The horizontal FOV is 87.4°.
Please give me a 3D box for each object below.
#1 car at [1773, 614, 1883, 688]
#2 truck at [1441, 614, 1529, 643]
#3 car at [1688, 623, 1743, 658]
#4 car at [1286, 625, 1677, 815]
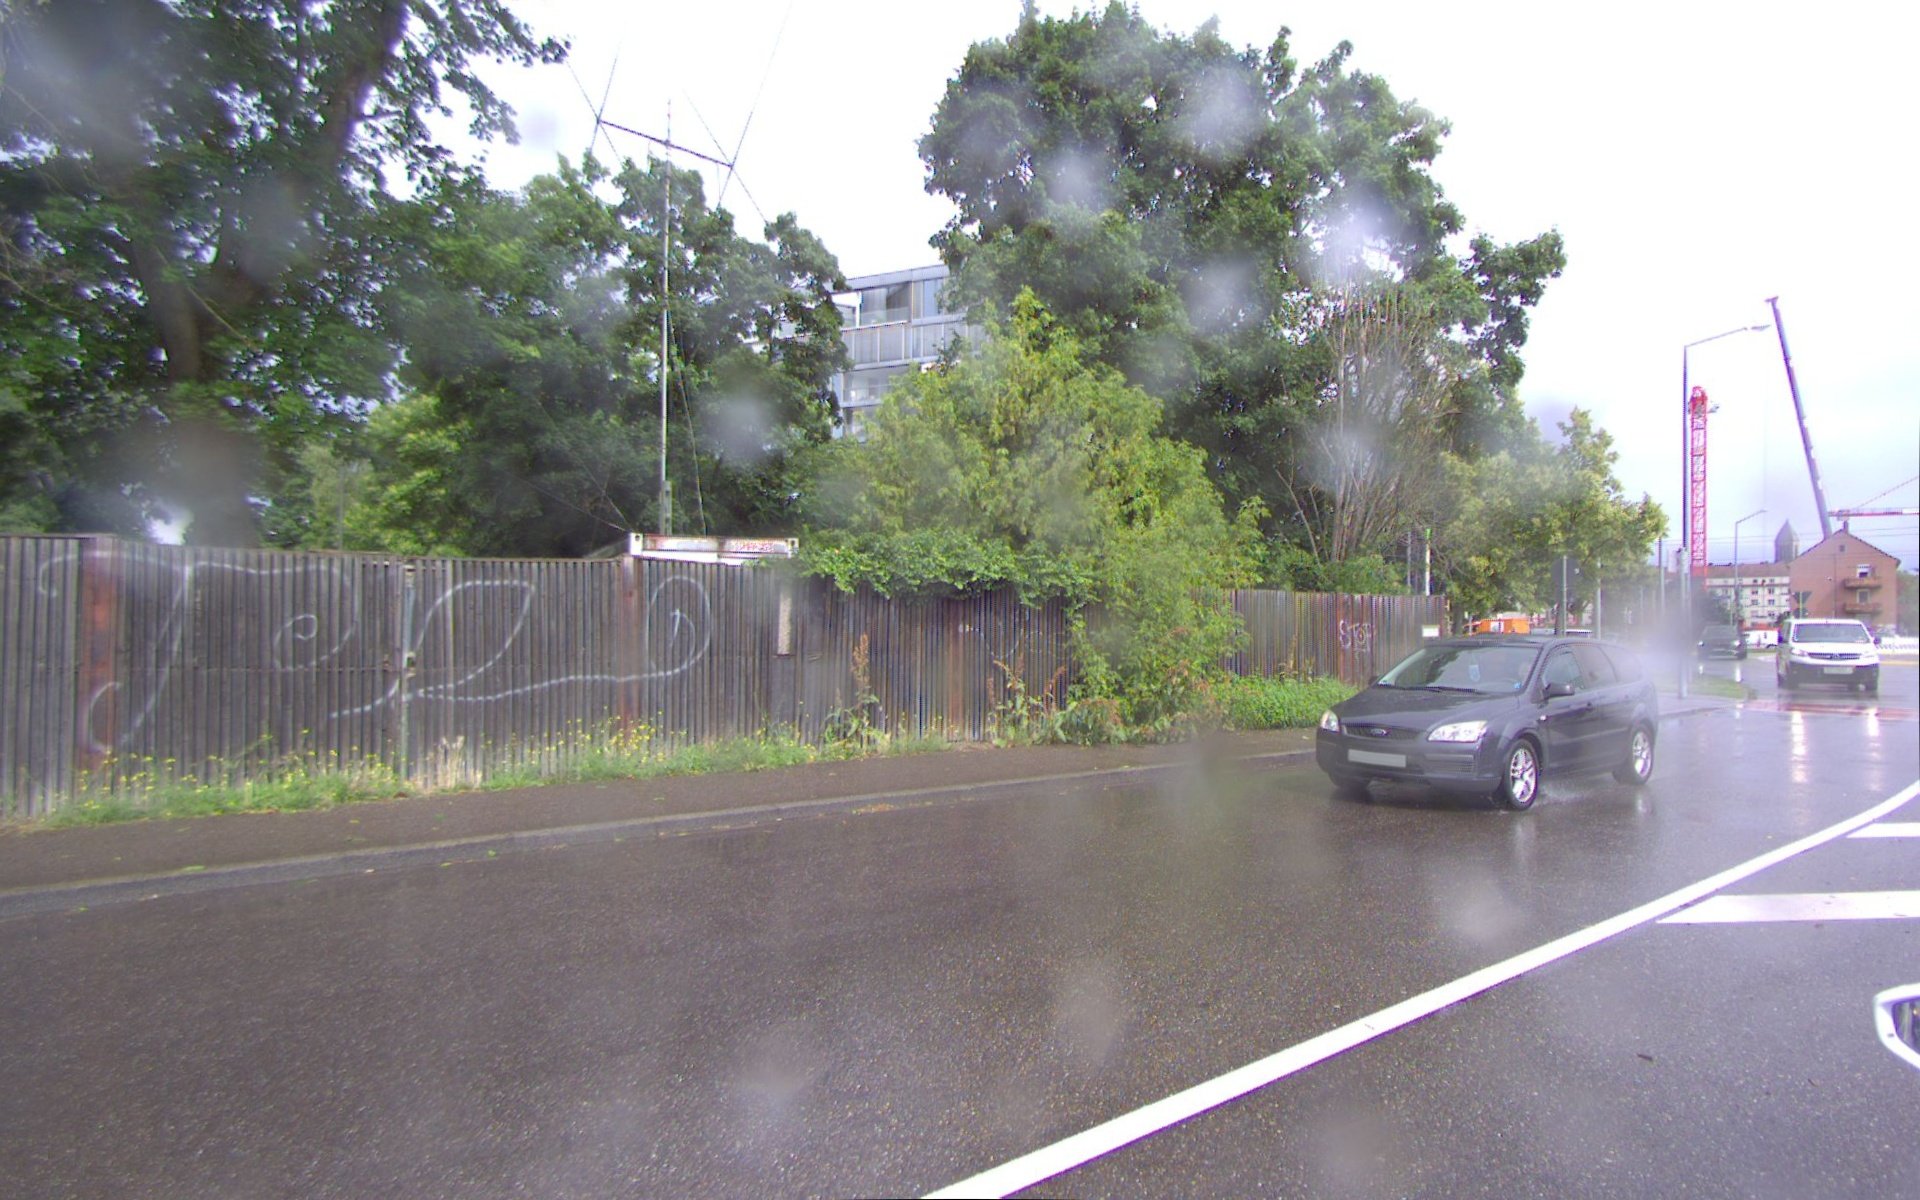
[{"bbox_3d":[24.332,1.370,28.329,1.863,1.901,5.115,0,-2,36],"label":"car"},{"bbox_3d":[45.830,2.466,87.895,2.403,2.475,6.678,1,-1,-27],"label":"truck"},{"bbox_3d":[37.380,1.982,49.805,1.709,1.686,4.101,0,-2,30],"label":"car"},{"bbox_3d":[5.265,1.031,9.952,4.139,1.502,1.861,2,-2,-37],"label":"car"}]
